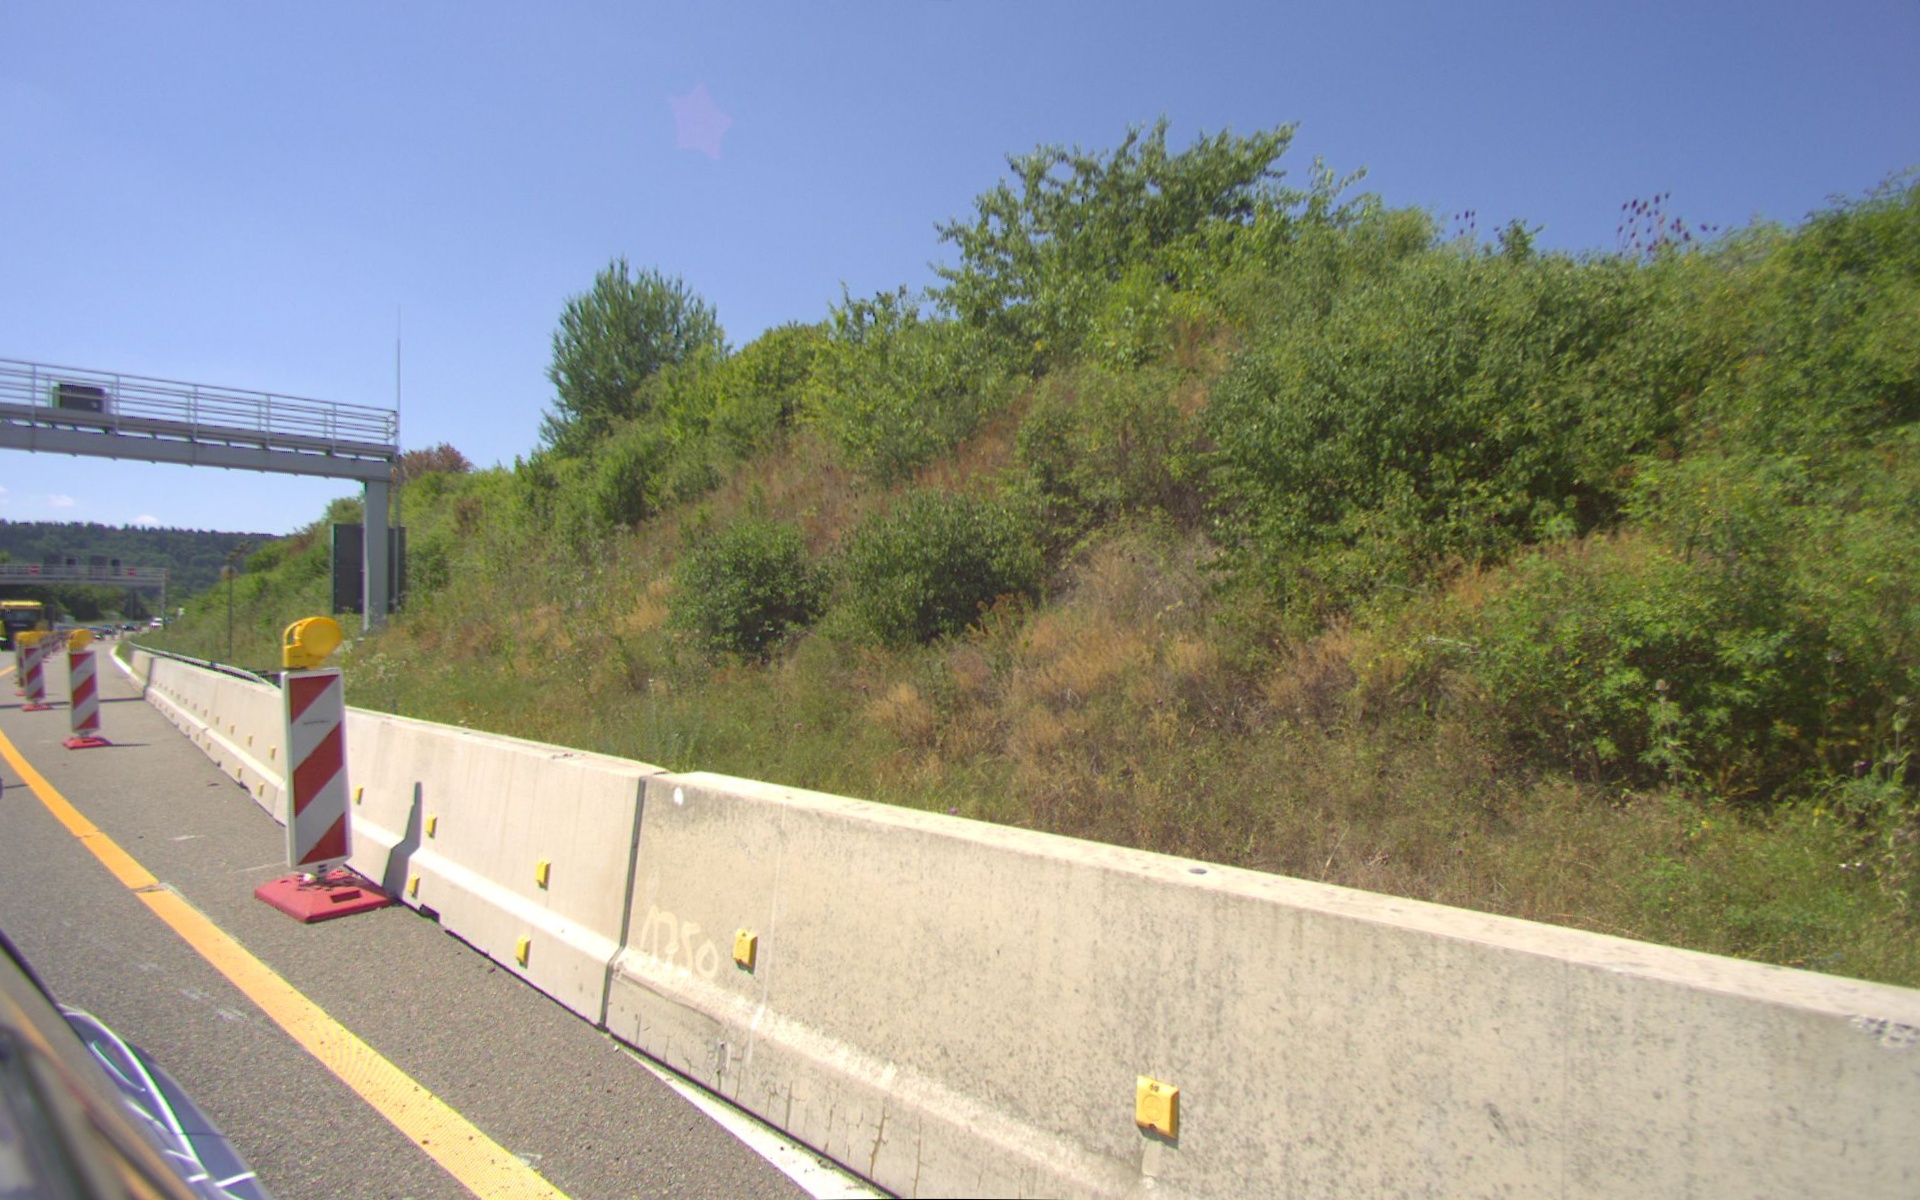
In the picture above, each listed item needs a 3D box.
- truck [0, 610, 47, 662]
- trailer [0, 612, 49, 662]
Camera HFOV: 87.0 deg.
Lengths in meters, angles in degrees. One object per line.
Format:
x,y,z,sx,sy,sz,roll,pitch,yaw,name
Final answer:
-70.963,2.751,76.292,3.182,3.689,7.091,0,-2,-42,truck
-76.584,3.139,82.648,3.189,3.695,17.443,0,-2,-42,trailer
